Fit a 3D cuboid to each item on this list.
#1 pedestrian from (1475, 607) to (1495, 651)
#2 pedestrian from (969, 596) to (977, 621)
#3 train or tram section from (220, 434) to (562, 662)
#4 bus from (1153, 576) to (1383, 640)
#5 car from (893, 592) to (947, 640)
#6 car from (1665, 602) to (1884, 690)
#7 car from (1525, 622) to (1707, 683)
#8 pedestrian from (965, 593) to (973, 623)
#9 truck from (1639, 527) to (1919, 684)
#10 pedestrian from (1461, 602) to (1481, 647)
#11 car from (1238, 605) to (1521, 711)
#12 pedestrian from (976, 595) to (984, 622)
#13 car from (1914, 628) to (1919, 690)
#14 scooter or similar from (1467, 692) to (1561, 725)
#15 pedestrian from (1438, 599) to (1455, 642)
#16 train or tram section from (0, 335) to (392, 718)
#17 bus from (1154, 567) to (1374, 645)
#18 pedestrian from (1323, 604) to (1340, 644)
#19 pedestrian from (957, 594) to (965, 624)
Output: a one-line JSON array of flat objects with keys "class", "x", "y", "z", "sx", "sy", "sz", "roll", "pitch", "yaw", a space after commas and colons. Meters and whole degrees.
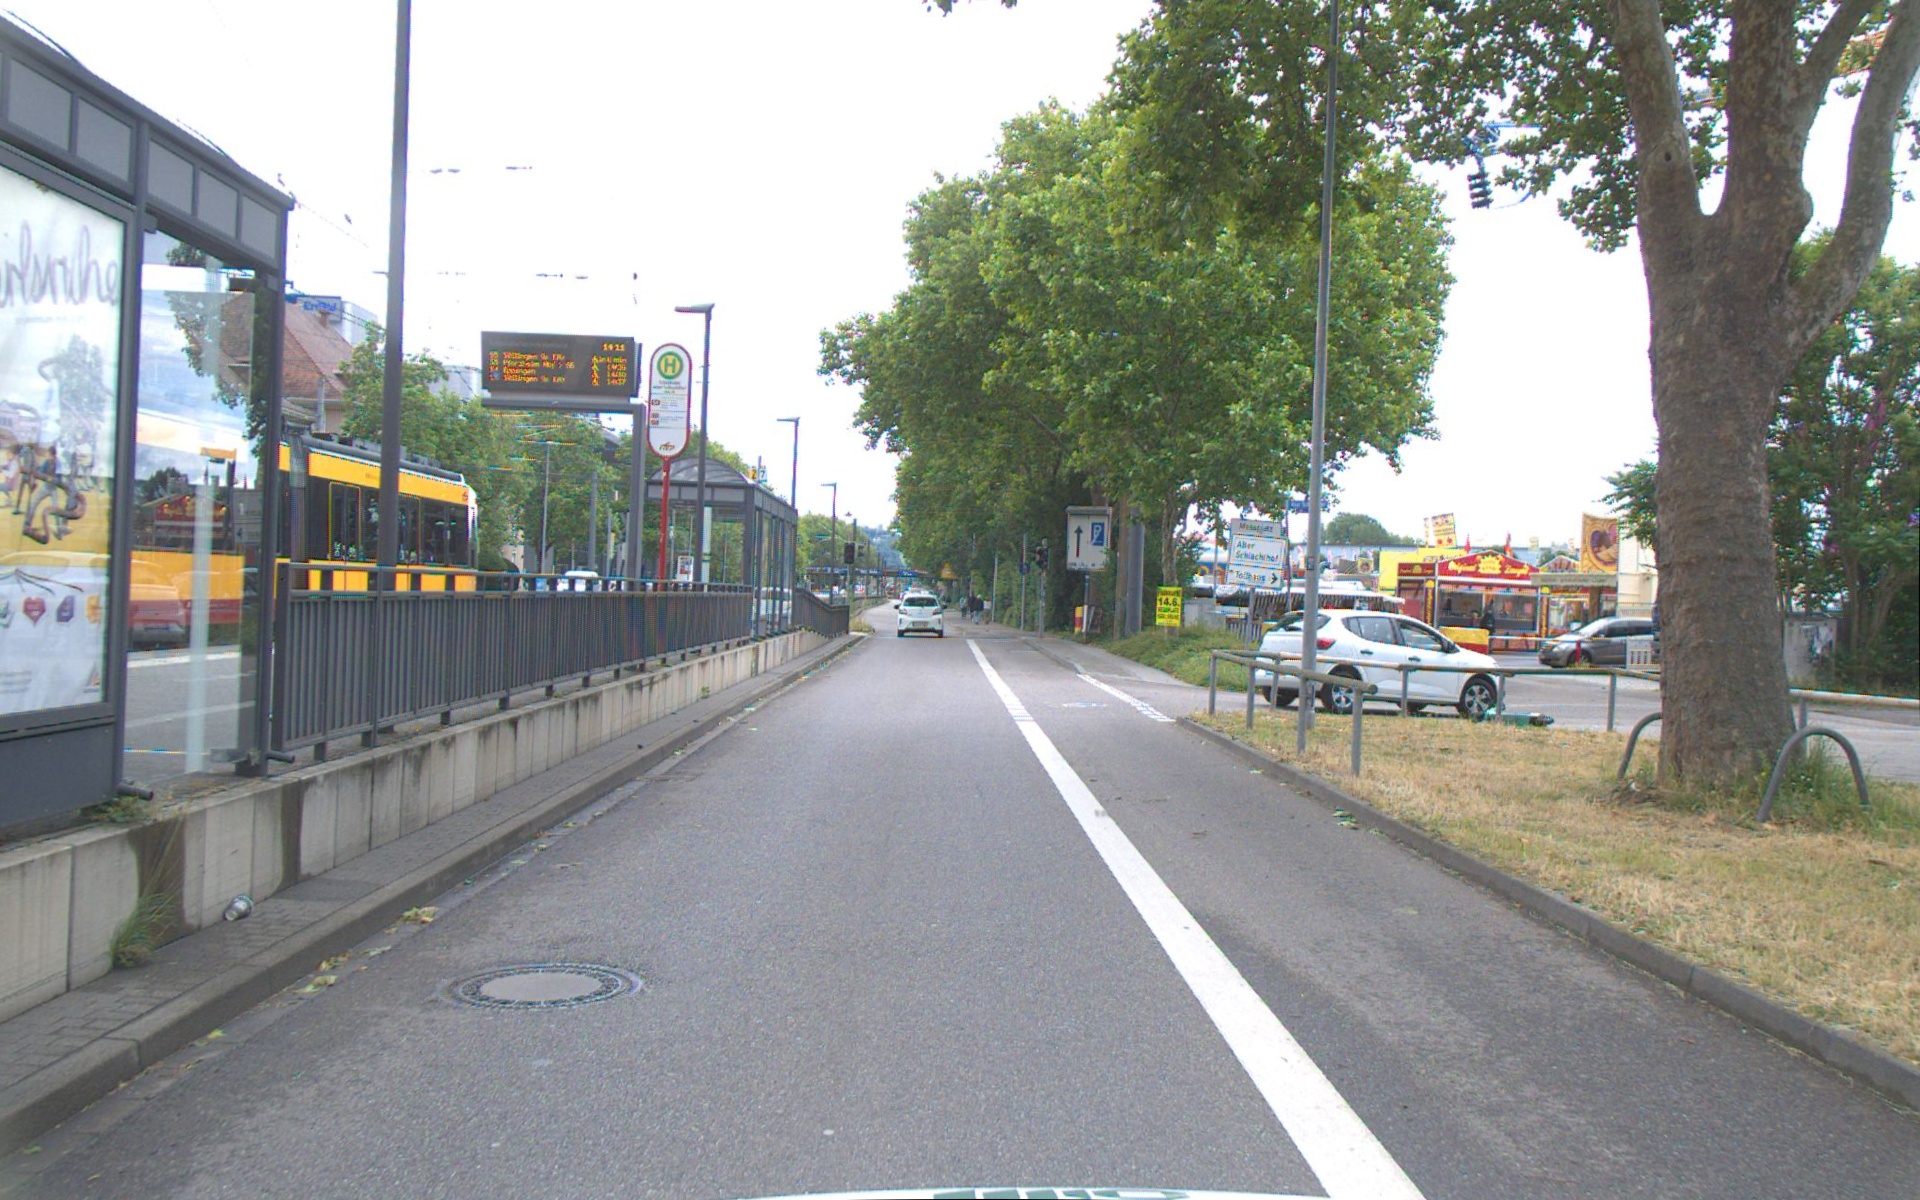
[{"class": "pedestrian", "x": 20.553, "y": 1.134, "z": 64.785, "sx": 0.514, "sy": 1.716, "sz": 0.492, "roll": 2, "pitch": -1, "yaw": -18}, {"class": "pedestrian", "x": 0.759, "y": 0.511, "z": 100.278, "sx": 0.388, "sy": 1.470, "sz": 0.562, "roll": 2, "pitch": -1, "yaw": -6}, {"class": "train or tram section", "x": -12.626, "y": -0.943, "z": 38.954, "sx": 3.116, "sy": 4.252, "sz": 14.729, "roll": 2, "pitch": 0, "yaw": -1}, {"class": "bus", "x": 12.707, "y": 0.339, "z": 68.476, "sx": 9.094, "sy": 2.266, "sz": 1.998, "roll": 2, "pitch": -1, "yaw": -4}, {"class": "car", "x": -1.376, "y": 0.549, "z": 58.293, "sx": 1.803, "sy": 1.579, "sz": 4.000, "roll": 1, "pitch": 0, "yaw": 0}, {"class": "car", "x": 20.329, "y": 1.136, "z": 41.402, "sx": 4.482, "sy": 2.049, "sz": 1.999, "roll": 1, "pitch": 1, "yaw": -3}, {"class": "car", "x": 19.082, "y": 1.516, "z": 48.235, "sx": 4.482, "sy": 1.603, "sz": 1.999, "roll": 2, "pitch": -1, "yaw": -3}, {"class": "pedestrian", "x": 0.640, "y": 0.549, "z": 113.319, "sx": 0.387, "sy": 2.049, "sz": 0.403, "roll": 2, "pitch": -1, "yaw": 14}, {"class": "truck", "x": 22.850, "y": 0.194, "z": 44.570, "sx": 8.027, "sy": 3.889, "sz": 2.598, "roll": 2, "pitch": -1, "yaw": -3}, {"class": "pedestrian", "x": 19.857, "y": 0.957, "z": 64.274, "sx": 0.514, "sy": 1.716, "sz": 0.492, "roll": 2, "pitch": -1, "yaw": -18}, {"class": "car", "x": 6.447, "y": 0.891, "z": 25.415, "sx": 3.937, "sy": 1.478, "sz": 1.876, "roll": 2, "pitch": -1, "yaw": -26}, {"class": "pedestrian", "x": 1.201, "y": 0.507, "z": 100.333, "sx": 0.388, "sy": 1.613, "sz": 0.537, "roll": 2, "pitch": -1, "yaw": -5}, {"class": "car", "x": 22.222, "y": 1.365, "z": 34.736, "sx": 1.848, "sy": 1.373, "sz": 3.997, "roll": 4, "pitch": -1, "yaw": -3}, {"class": "scooter or similar", "x": 7.762, "y": 1.510, "z": 23.123, "sx": 1.153, "sy": 0.355, "sz": 1.330, "roll": 0, "pitch": 0, "yaw": 23}, {"class": "pedestrian", "x": 19.845, "y": 0.837, "z": 67.517, "sx": 0.483, "sy": 1.716, "sz": 0.523, "roll": 2, "pitch": -1, "yaw": -4}, {"class": "train or tram section", "x": -12.354, "y": -0.818, "z": 24.255, "sx": 3.116, "sy": 4.252, "sz": 14.729, "roll": 2, "pitch": 0, "yaw": -1}, {"class": "bus", "x": 13.111, "y": 0.252, "z": 71.564, "sx": 9.094, "sy": 3.011, "sz": 1.998, "roll": 2, "pitch": -1, "yaw": -4}, {"class": "pedestrian", "x": 13.991, "y": 0.888, "z": 62.294, "sx": 0.483, "sy": 1.488, "sz": 0.523, "roll": 2, "pitch": -1, "yaw": -4}, {"class": "pedestrian", "x": 0.090, "y": 0.606, "z": 113.406, "sx": 0.387, "sy": 2.049, "sz": 0.403, "roll": 2, "pitch": -1, "yaw": 14}]
